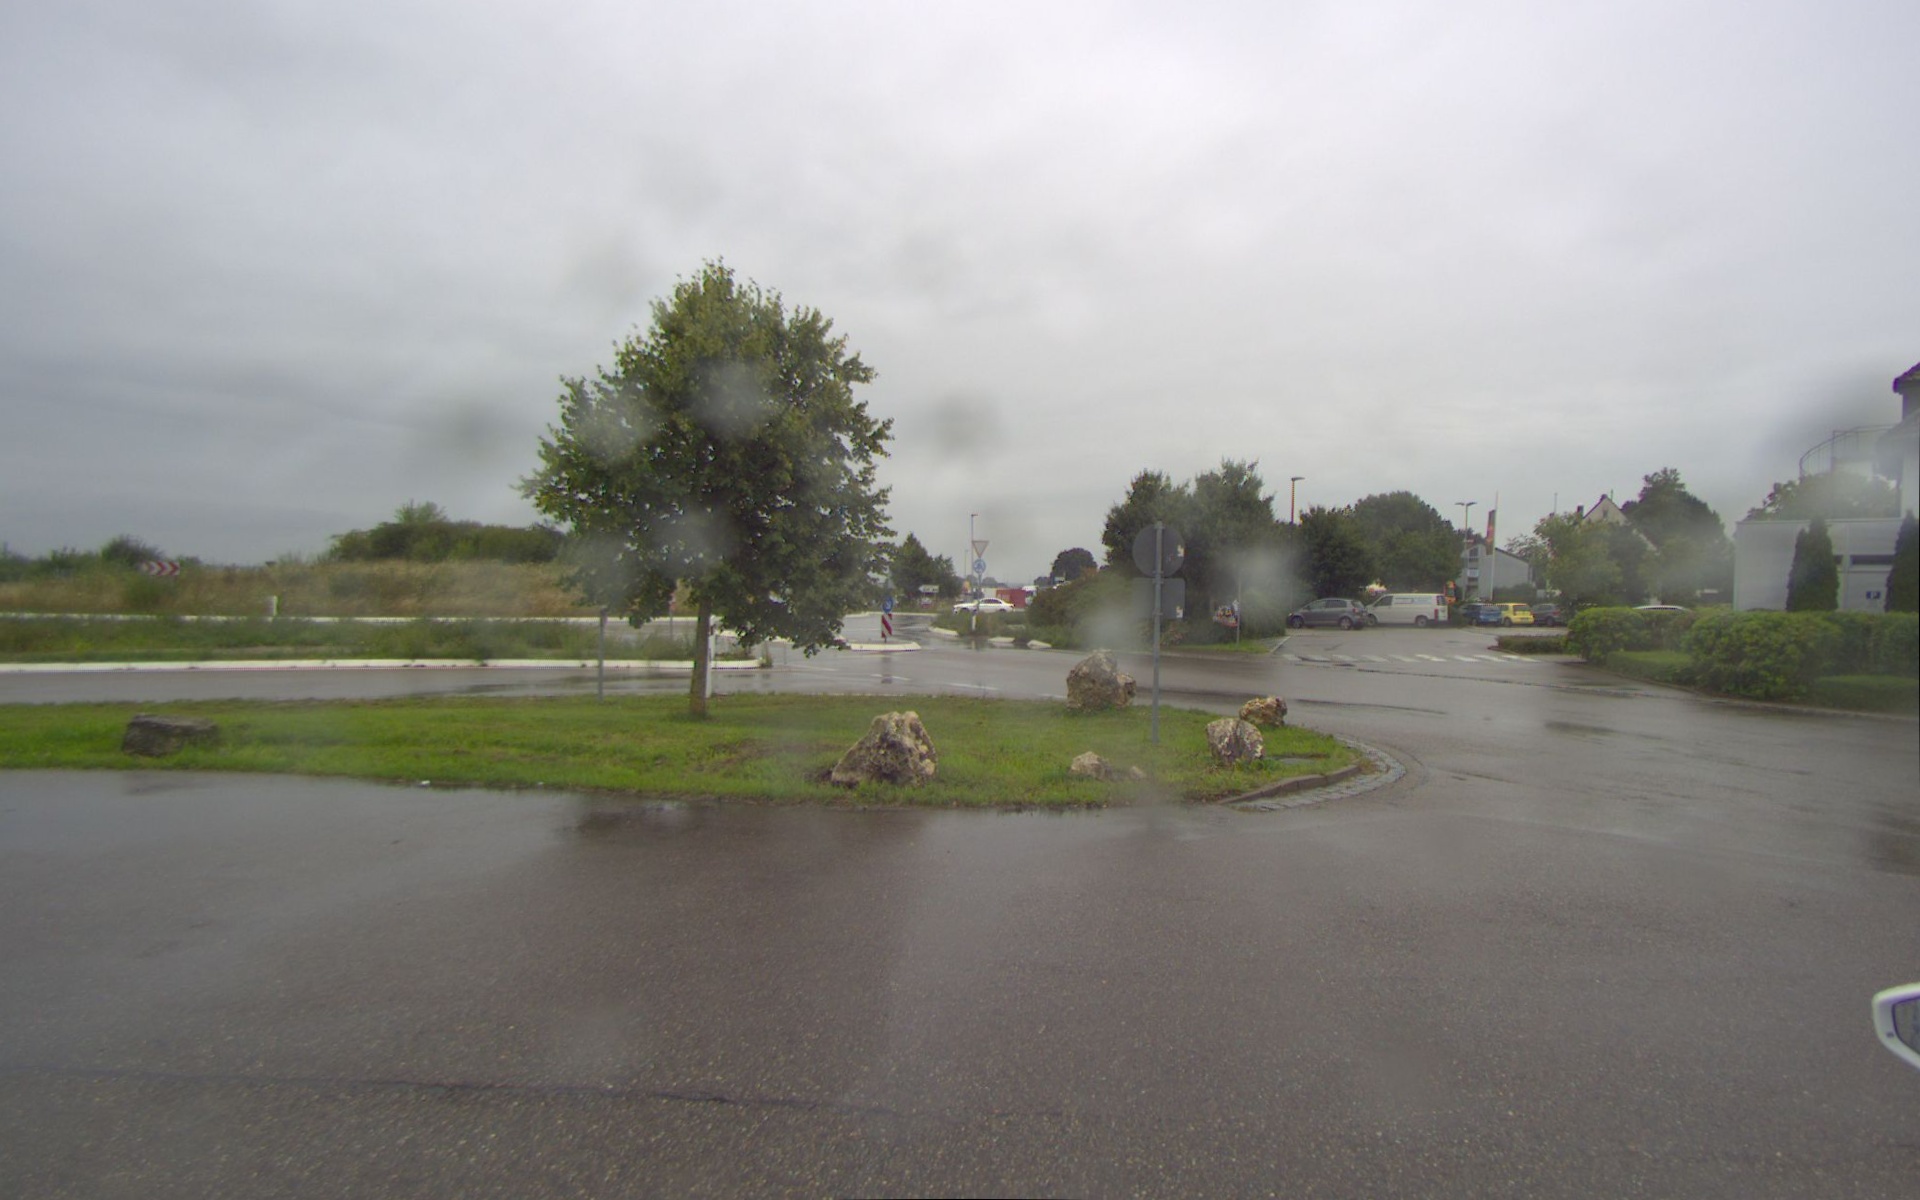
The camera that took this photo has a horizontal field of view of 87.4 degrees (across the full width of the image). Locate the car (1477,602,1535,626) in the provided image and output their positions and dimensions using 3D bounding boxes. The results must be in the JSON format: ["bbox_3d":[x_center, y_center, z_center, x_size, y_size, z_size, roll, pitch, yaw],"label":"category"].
[{"bbox_3d":[34.612,0.857,63.814,1.555,1.477,3.679,0,0,-3],"label":"car"}]

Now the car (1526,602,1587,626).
[{"bbox_3d":[37.790,0.861,63.679,1.555,1.477,3.679,0,0,-3],"label":"car"}]

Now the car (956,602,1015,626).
[{"bbox_3d":[1.851,1.028,74.281,4.282,1.782,1.748,1,0,-3],"label":"car"}]

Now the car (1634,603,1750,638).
[{"bbox_3d":[33.328,0.905,45.810,4.130,1.518,1.708,0,0,43],"label":"car"}]

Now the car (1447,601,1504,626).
[{"bbox_3d":[32.232,0.838,62.902,1.526,1.477,3.679,0,0,-3],"label":"car"}]

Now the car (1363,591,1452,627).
[{"bbox_3d":[26.033,0.491,58.481,4.472,2.060,1.635,1,1,44],"label":"car"}]

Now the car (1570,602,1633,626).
[{"bbox_3d":[40.472,0.860,63.452,1.555,1.477,3.679,0,0,-3],"label":"car"}]

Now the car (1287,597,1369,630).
[{"bbox_3d":[18.831,0.666,51.463,3.692,1.572,1.442,1,1,43],"label":"car"}]
